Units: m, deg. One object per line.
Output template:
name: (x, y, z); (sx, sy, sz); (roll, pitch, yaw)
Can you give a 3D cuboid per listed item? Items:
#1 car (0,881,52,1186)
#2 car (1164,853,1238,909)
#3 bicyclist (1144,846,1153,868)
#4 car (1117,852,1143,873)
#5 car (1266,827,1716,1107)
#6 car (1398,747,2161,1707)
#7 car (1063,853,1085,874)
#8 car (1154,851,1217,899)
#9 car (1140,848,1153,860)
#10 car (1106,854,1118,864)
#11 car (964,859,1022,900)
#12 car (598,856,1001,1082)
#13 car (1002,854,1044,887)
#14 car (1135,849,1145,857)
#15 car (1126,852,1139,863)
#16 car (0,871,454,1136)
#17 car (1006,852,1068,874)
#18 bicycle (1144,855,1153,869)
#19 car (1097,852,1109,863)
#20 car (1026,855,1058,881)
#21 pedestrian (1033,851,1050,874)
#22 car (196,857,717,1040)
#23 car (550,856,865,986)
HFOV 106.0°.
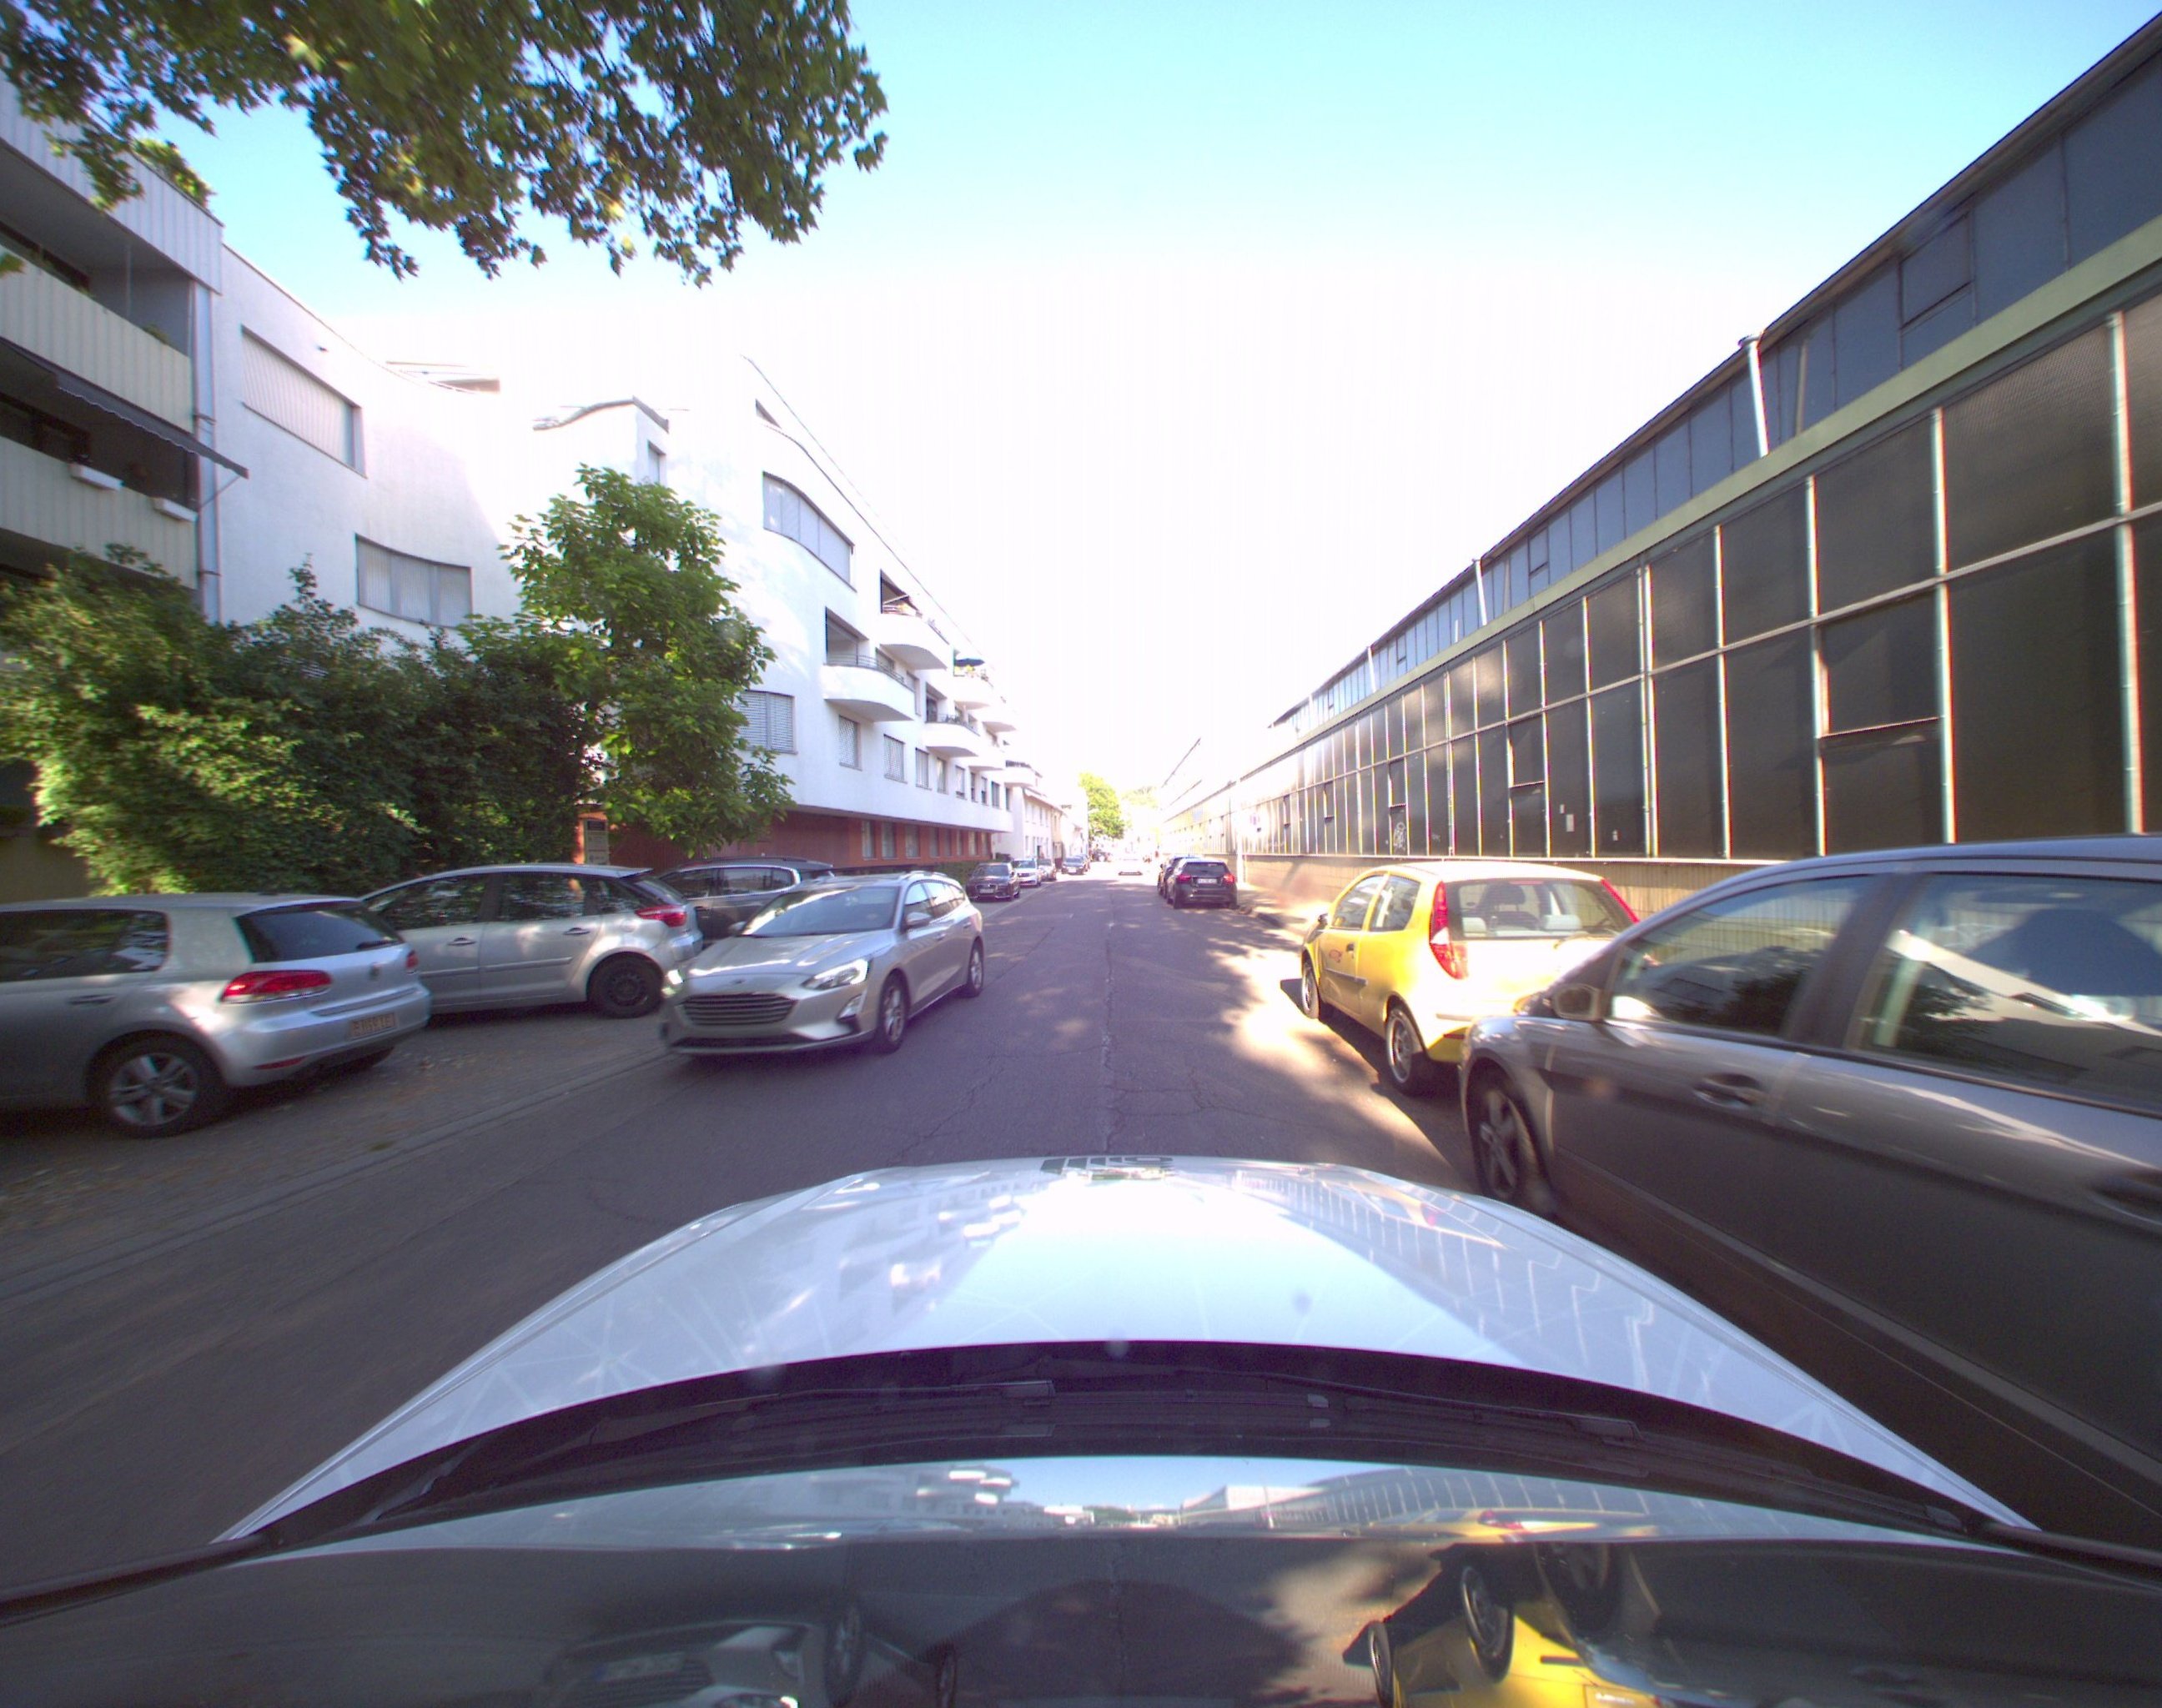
car: (-7.032, 0.915, 2.975); (3.654, 1.561, 1.687); (0, -1, -23)
car: (3.543, 0.768, 24.730); (1.743, 1.491, 4.624); (1, 0, 3)
bicyclist: (5.739, 0.262, 69.320); (0.695, 1.790, 1.042); (0, -1, 4)
car: (3.557, 0.644, 59.683); (1.835, 1.491, 4.146); (0, -1, 2)
car: (2.862, 0.680, 6.777); (1.745, 1.635, 4.001); (0, -1, 0)
car: (2.559, 0.666, 2.367); (1.744, 1.635, 4.311); (0, -1, 2)
car: (-0.572, 0.746, 64.956); (1.679, 1.535, 4.333); (1, 0, 0)
car: (3.748, 0.725, 29.914); (1.801, 1.587, 4.405); (1, 0, 1)
car: (9.759, -0.006, 121.465); (1.623, 1.587, 4.072); (-3, -1, 3)
car: (4.775, 0.804, 126.322); (1.834, 1.491, 4.147); (0, -1, 3)
car: (-3.275, 0.928, 30.921); (1.668, 1.433, 3.772); (1, 0, 2)
car: (-2.264, 0.836, 8.117); (1.890, 1.536, 4.630); (-3, 0, 6)
car: (-2.986, 0.840, 42.839); (1.852, 1.587, 4.620); (1, 0, 0)
car: (10.841, -0.202, 148.844); (1.833, 1.491, 4.150); (0, -1, 5)
car: (8.161, 0.559, 129.660); (1.846, 1.791, 4.609); (0, 0, 1)
car: (-6.910, 0.909, 5.655); (3.637, 1.561, 1.695); (0, -1, -9)
car: (-3.118, 0.645, 58.801); (4.306, 1.535, 1.690); (1, -1, 0)
bicycle: (5.731, 0.670, 69.207); (0.695, 1.130, 2.405); (0, -1, 5)
car: (3.818, 0.546, 139.036); (1.844, 1.791, 4.613); (0, 0, 5)
car: (-2.473, 0.876, 52.253); (1.661, 1.536, 3.859); (1, -1, 2)
pedestrian: (-3.173, 0.673, 65.940); (0.853, 1.818, 1.138); (3, 1, 26)
car: (-6.300, 0.860, 8.890); (4.142, 1.640, 1.764); (0, -1, -22)
car: (-5.369, 0.872, 12.063); (3.967, 1.662, 1.686); (0, -1, -26)
